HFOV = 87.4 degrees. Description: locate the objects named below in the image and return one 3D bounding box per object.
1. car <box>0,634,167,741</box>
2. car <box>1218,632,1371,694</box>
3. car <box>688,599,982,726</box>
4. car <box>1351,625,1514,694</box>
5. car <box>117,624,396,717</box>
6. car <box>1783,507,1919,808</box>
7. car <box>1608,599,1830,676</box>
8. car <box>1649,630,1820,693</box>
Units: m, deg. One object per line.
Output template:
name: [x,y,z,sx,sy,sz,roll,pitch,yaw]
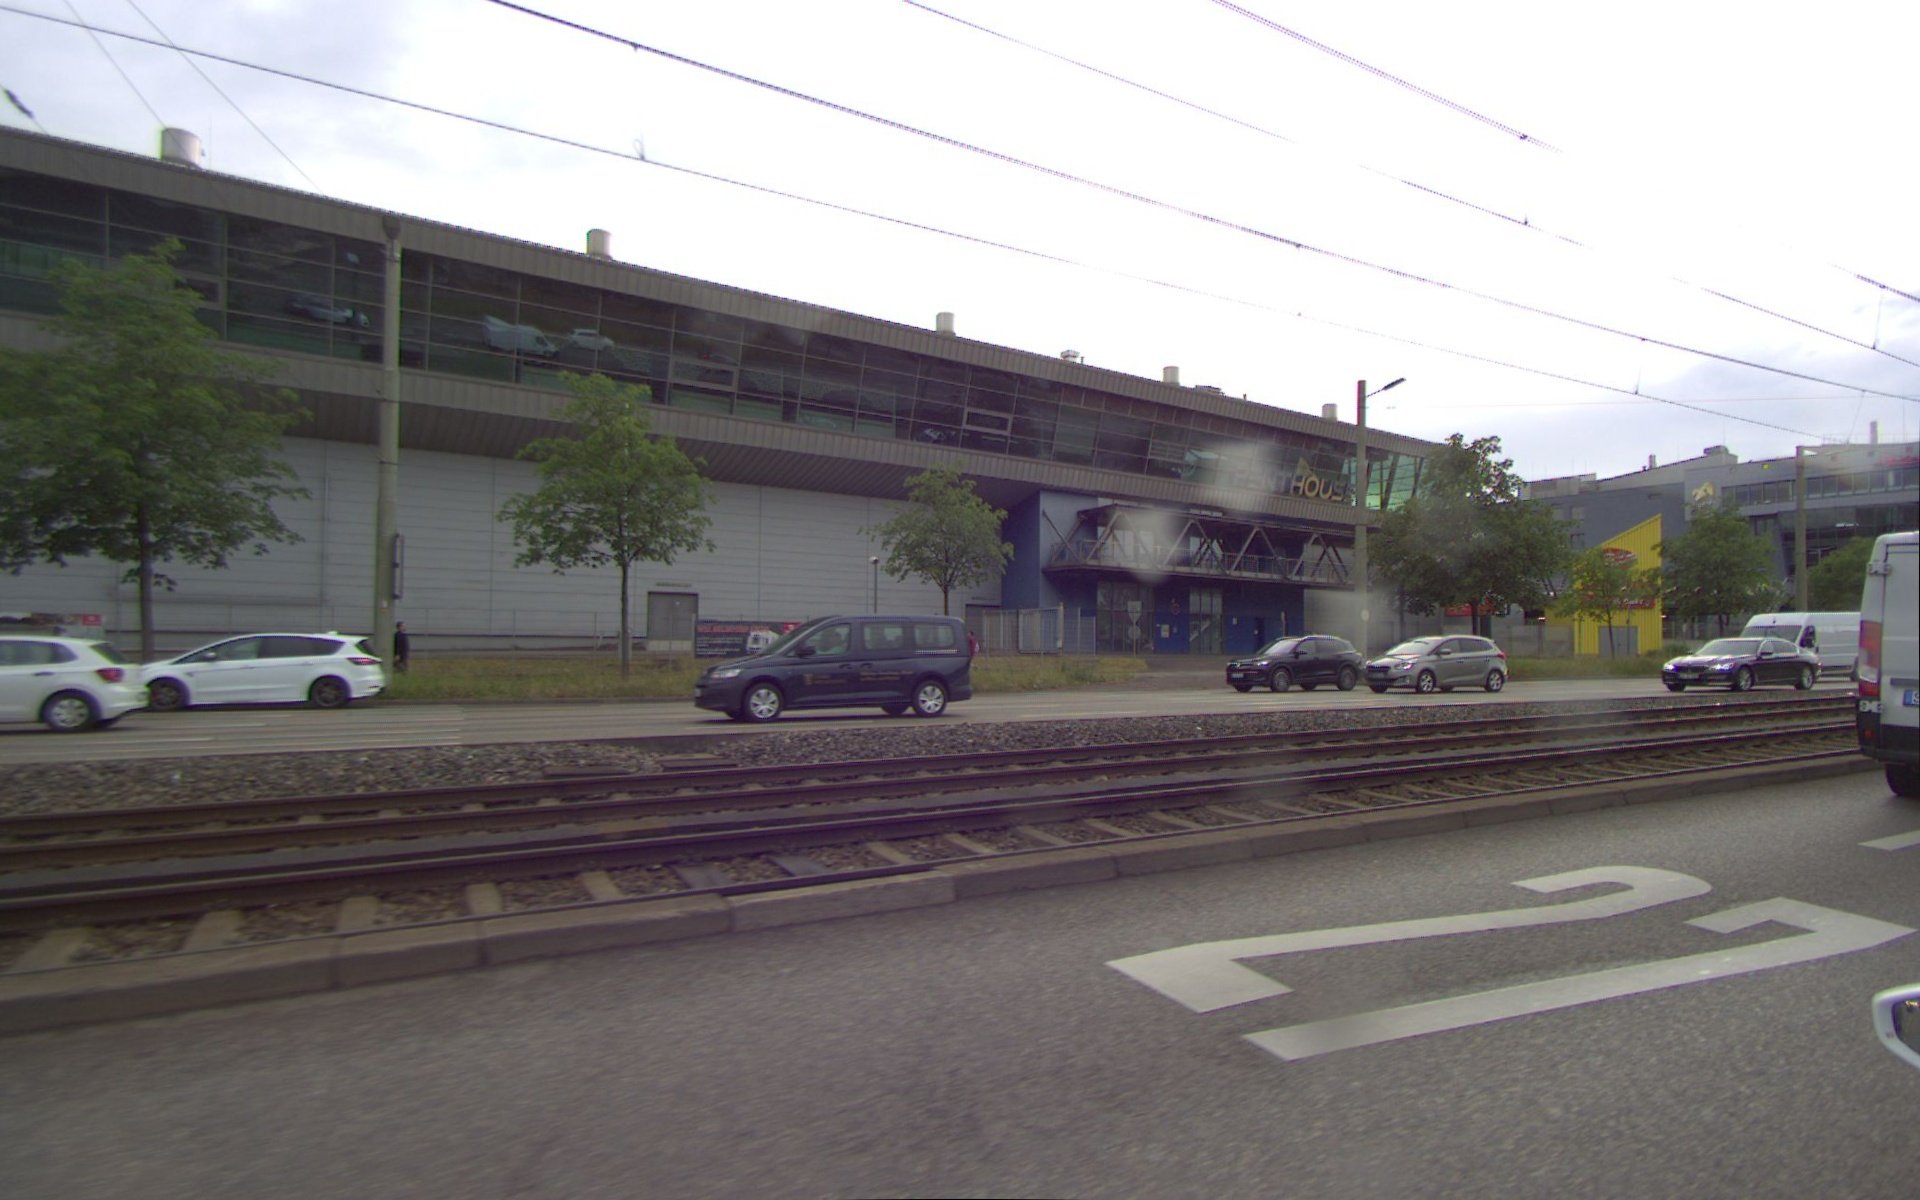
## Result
car: [-14.440,1.266,14.876,3.941,1.530,1.558,2,-2,-28]
car: [10.126,1.865,30.409,4.433,1.767,1.795,1,-3,-26]
car: [-2.120,1.038,17.334,4.740,1.953,1.795,1,-2,-26]
car: [13.350,1.652,28.367,4.433,1.807,1.795,1,-3,-26]
car: [-14.981,1.469,21.762,4.670,1.843,1.795,1,-3,-26]
car: [9.691,0.494,8.626,4.846,2.325,2.434,1,1,-30]
car: [26.467,1.288,35.132,6.439,2.441,2.217,2,0,-7]
car: [21.671,1.694,28.079,4.890,1.642,1.795,1,-3,-26]
